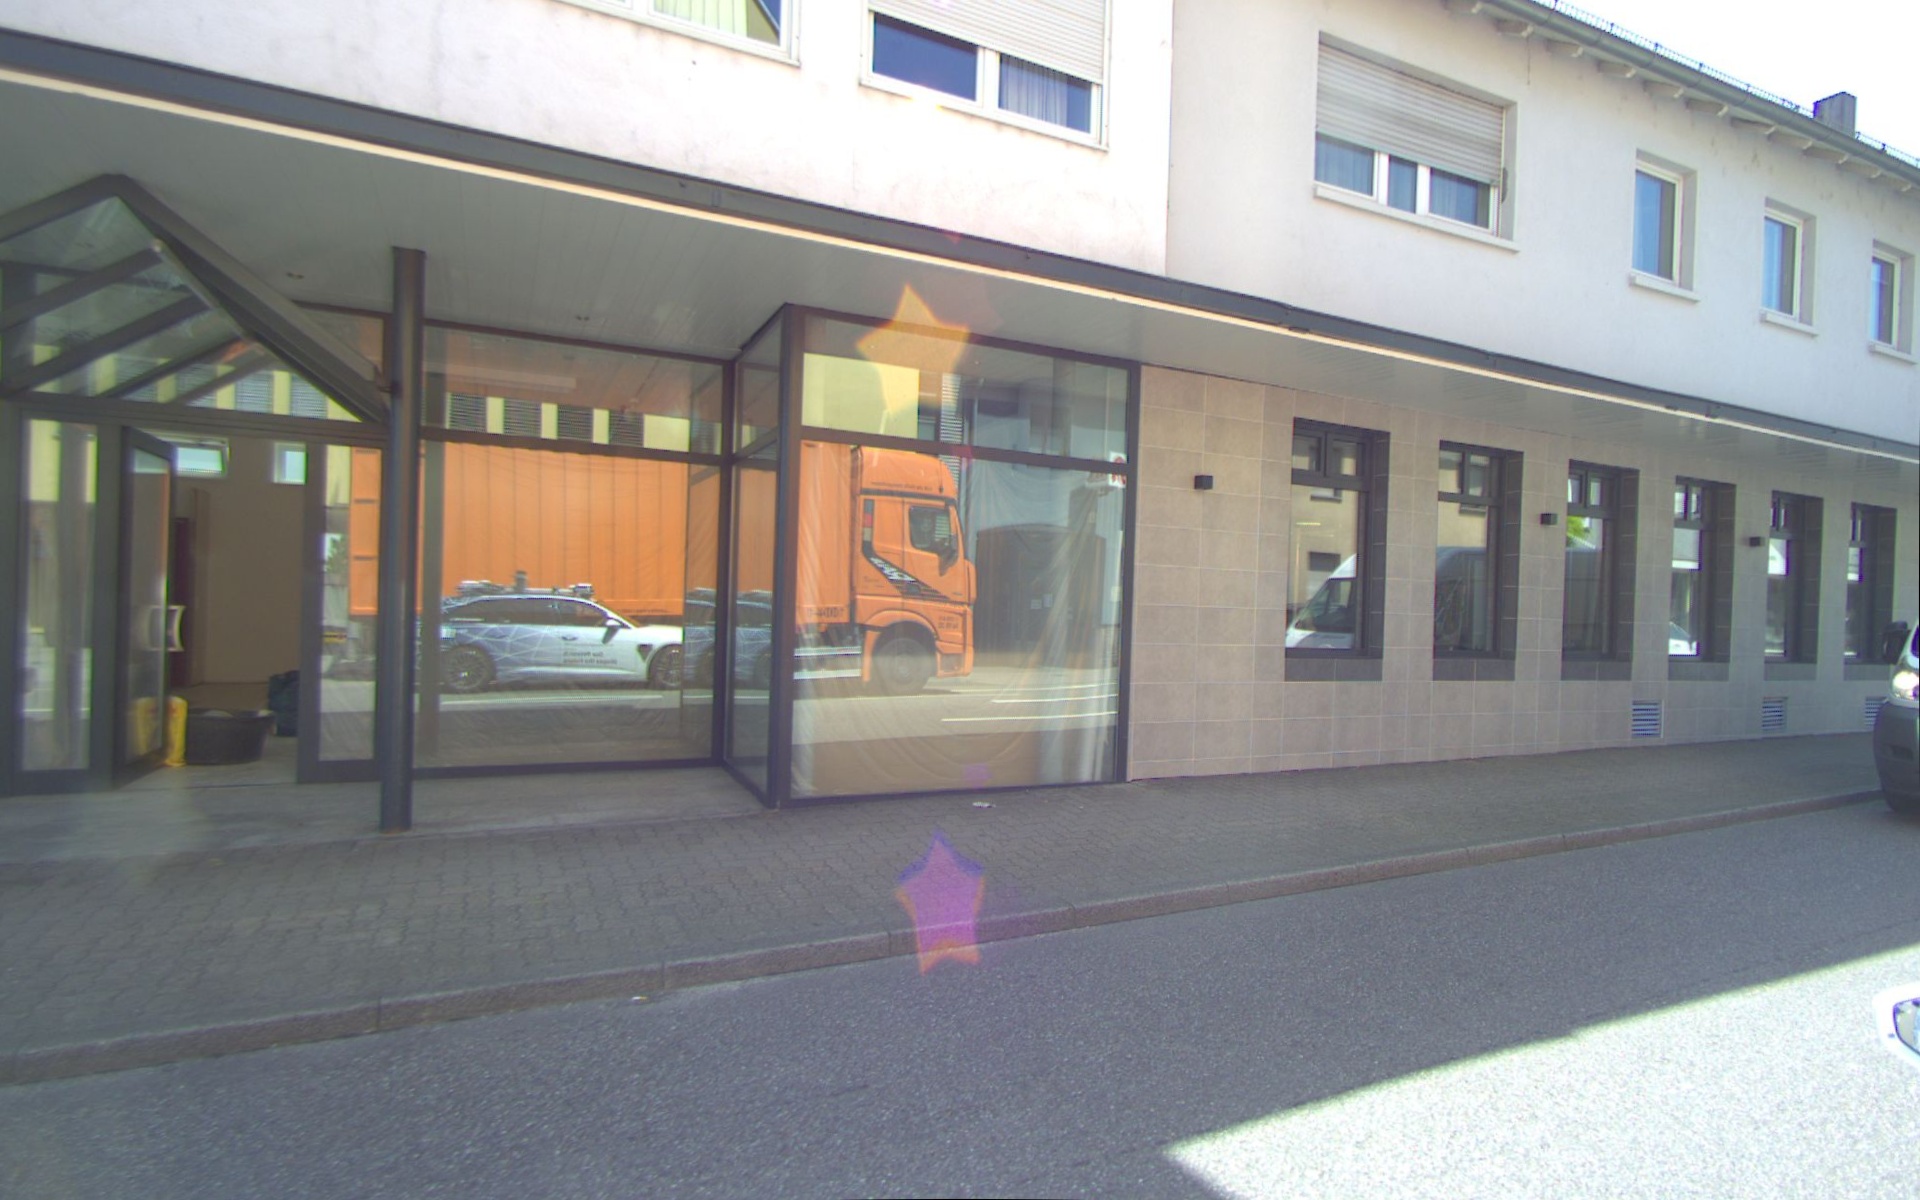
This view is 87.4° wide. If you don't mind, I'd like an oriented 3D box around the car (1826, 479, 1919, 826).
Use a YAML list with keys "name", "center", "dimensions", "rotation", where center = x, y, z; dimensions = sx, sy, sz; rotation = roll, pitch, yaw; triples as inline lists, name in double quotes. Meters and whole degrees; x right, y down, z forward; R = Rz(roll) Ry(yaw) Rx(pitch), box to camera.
- name: "car"
  center: [9.774, 0.434, 8.322]
  dimensions: [5.325, 2.603, 2.132]
  rotation: [1, -1, -28]
